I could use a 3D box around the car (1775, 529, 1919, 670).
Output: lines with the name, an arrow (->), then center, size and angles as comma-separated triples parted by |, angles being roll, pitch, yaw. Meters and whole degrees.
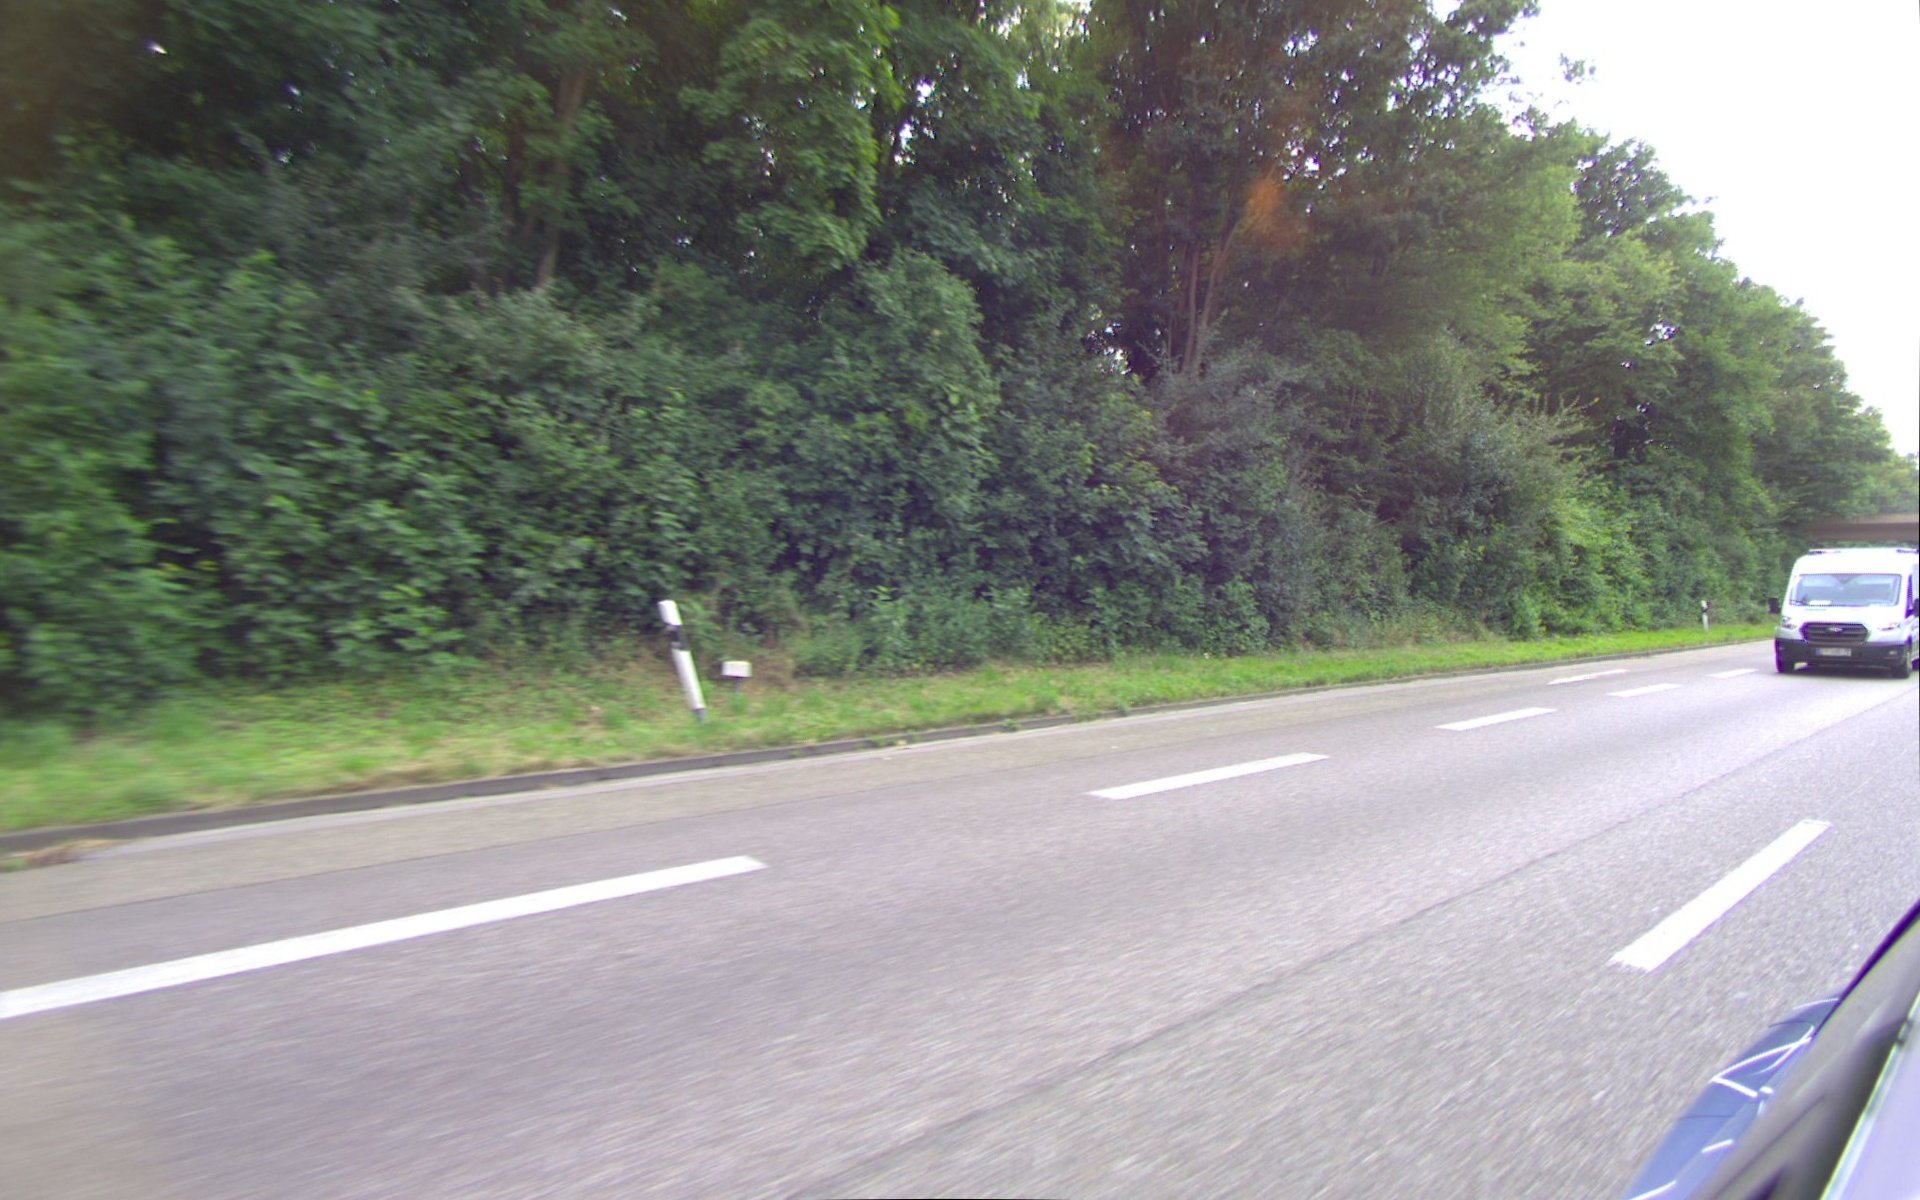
car -> 18.612, -0.020, 20.736 | 5.186, 2.539, 2.102 | 0, 0, -41
